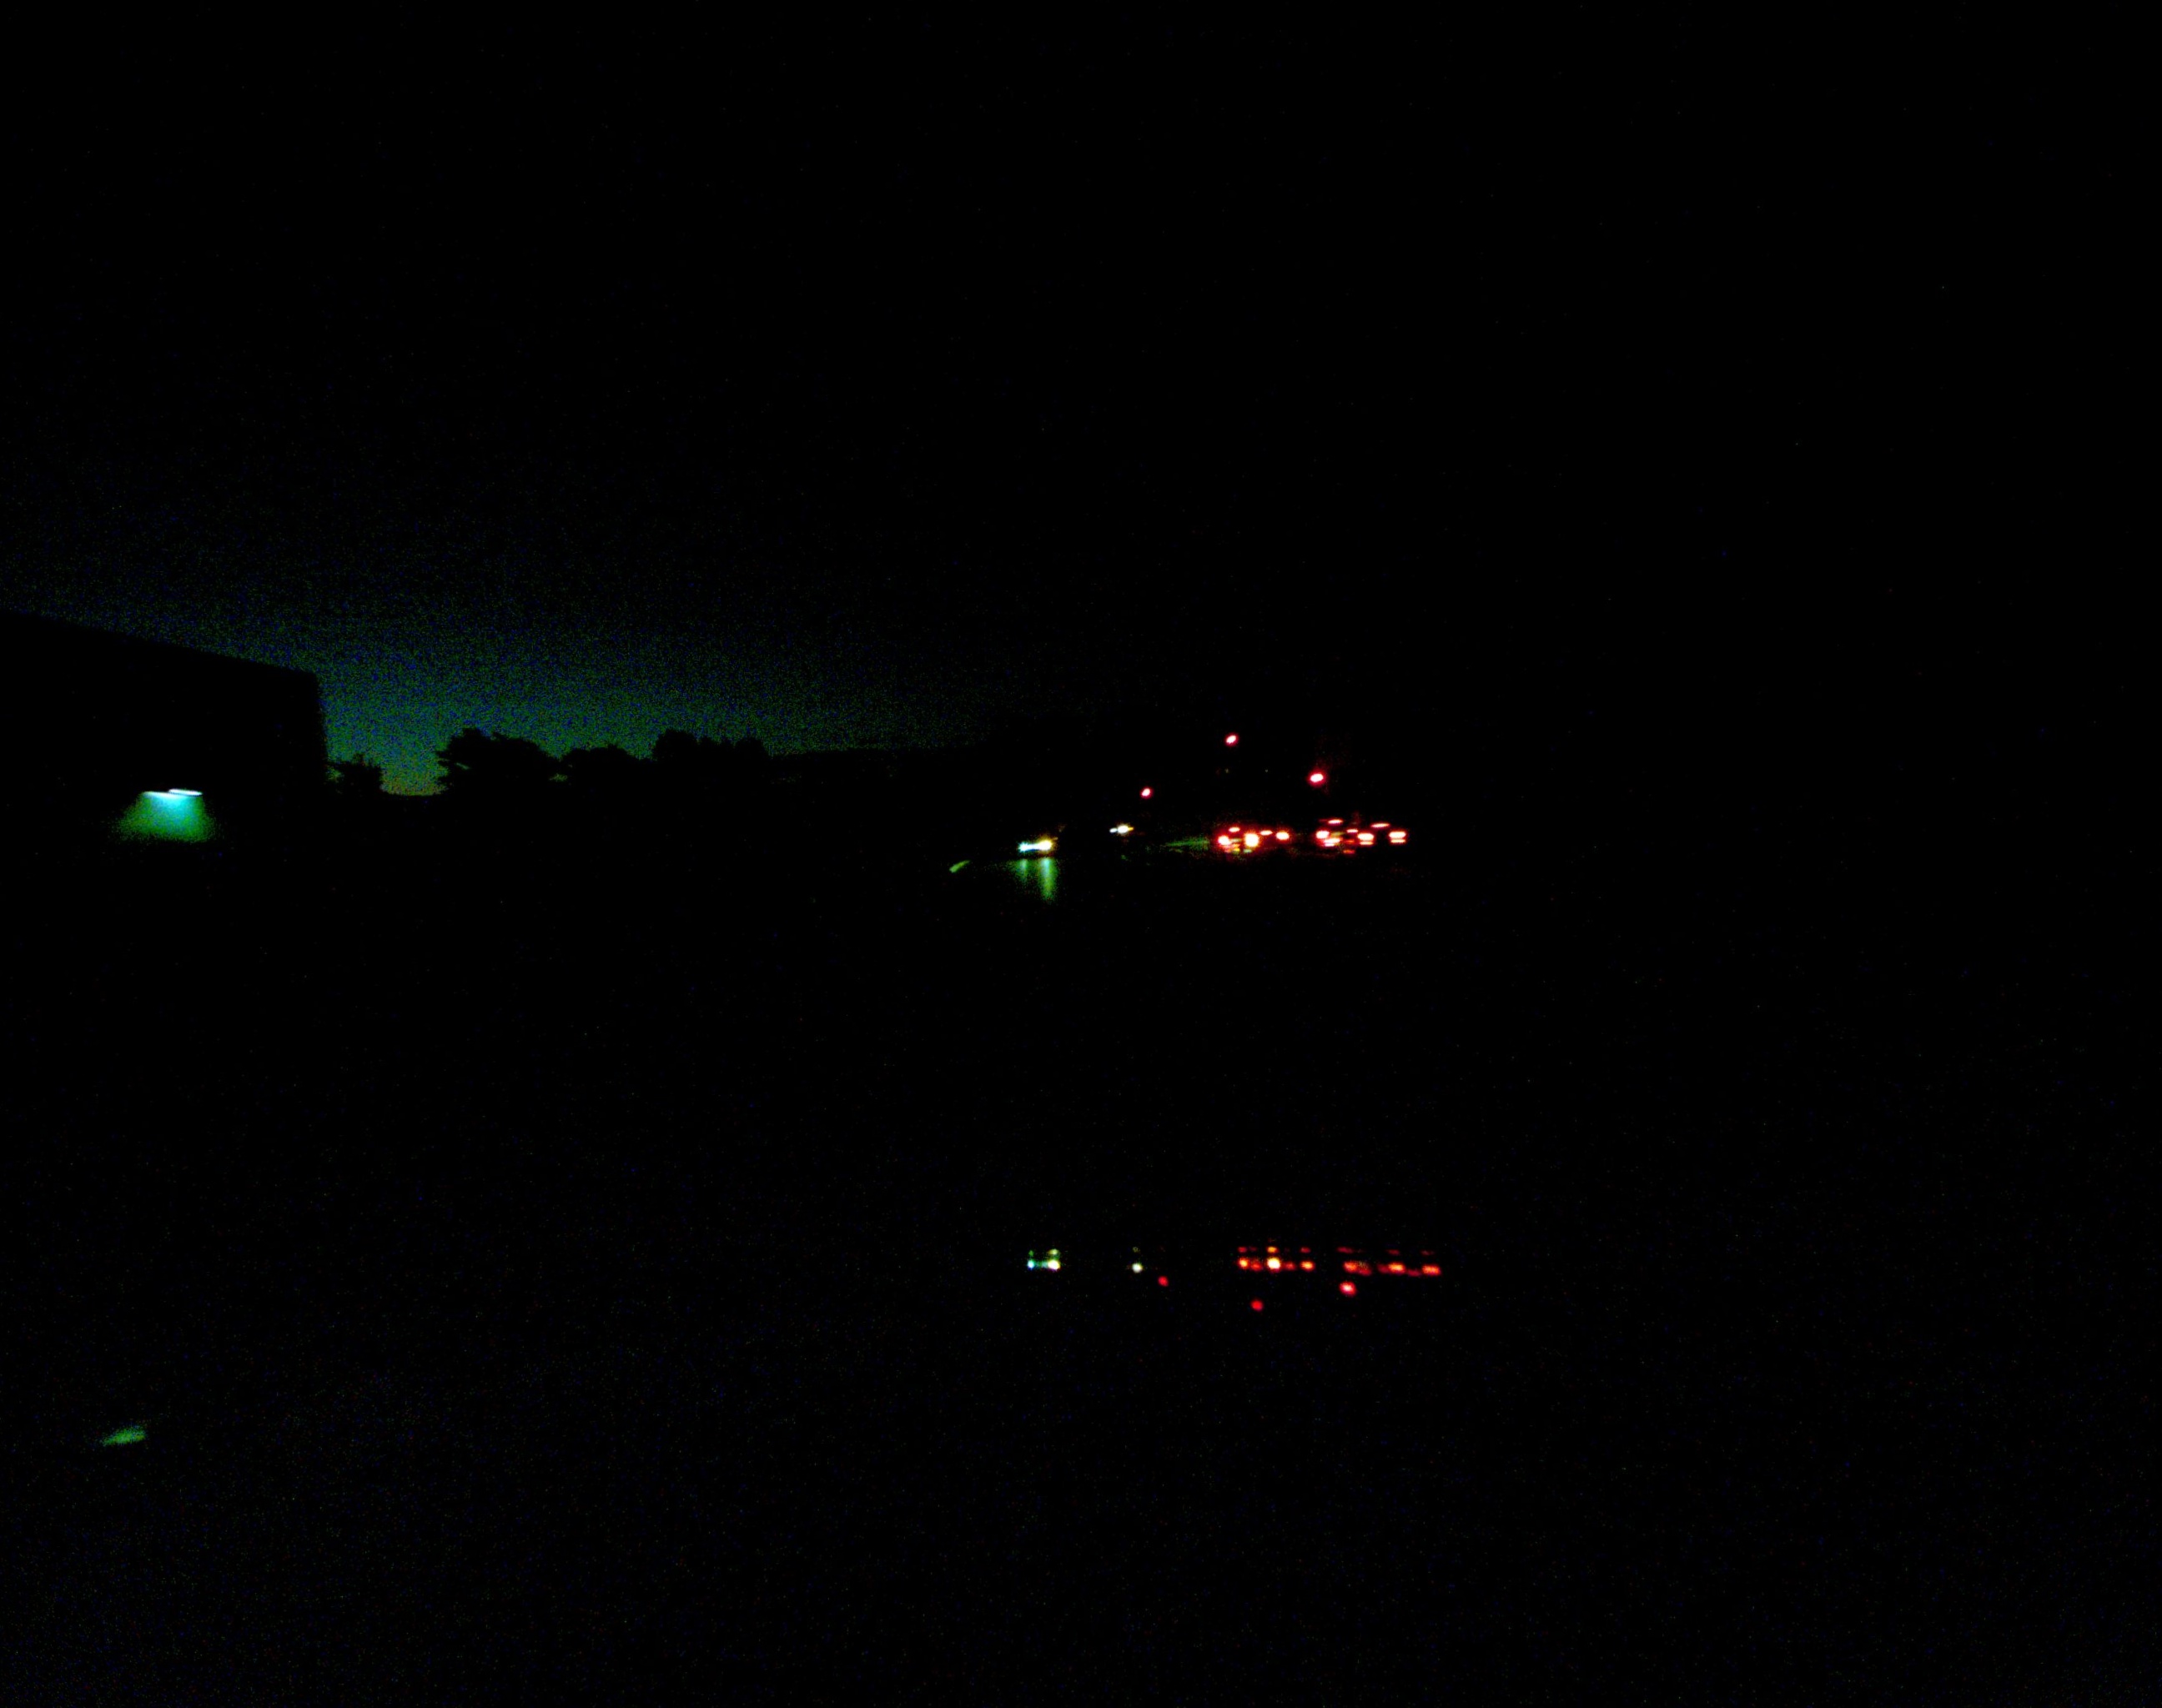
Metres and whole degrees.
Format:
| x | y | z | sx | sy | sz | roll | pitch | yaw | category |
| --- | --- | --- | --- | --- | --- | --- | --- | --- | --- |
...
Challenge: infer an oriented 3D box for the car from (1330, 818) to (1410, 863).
| x | y | z | sx | sy | sz | roll | pitch | yaw | category |
| --- | --- | --- | --- | --- | --- | --- | --- | --- | --- |
| 10.871 | -0.559 | 28.834 | 1.687 | 1.452 | 3.811 | -3 | 3 | 2 | car |

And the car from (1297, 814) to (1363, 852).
| x | y | z | sx | sy | sz | roll | pitch | yaw | category |
| --- | --- | --- | --- | --- | --- | --- | --- | --- | --- |
| 11.509 | -1.010 | 35.363 | 1.758 | 1.453 | 3.998 | -6 | 4 | 2 | car |

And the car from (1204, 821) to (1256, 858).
| x | y | z | sx | sy | sz | roll | pitch | yaw | category |
| --- | --- | --- | --- | --- | --- | --- | --- | --- | --- |
| 7.337 | -0.782 | 37.682 | 1.703 | 1.467 | 3.867 | -5 | 5 | 1 | car |

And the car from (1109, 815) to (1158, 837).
| x | y | z | sx | sy | sz | roll | pitch | yaw | category |
| --- | --- | --- | --- | --- | --- | --- | --- | --- | --- |
| 4.183 | -2.195 | 60.345 | 3.494 | 1.443 | 1.654 | -6 | 3 | -31 | car |

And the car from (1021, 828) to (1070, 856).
| x | y | z | sx | sy | sz | roll | pitch | yaw | category |
| --- | --- | --- | --- | --- | --- | --- | --- | --- | --- |
| -2.179 | -0.793 | 47.721 | 1.761 | 1.451 | 4.195 | -4 | 2 | 15 | car |

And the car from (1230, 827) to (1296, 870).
| x | y | z | sx | sy | sz | roll | pitch | yaw | category |
| --- | --- | --- | --- | --- | --- | --- | --- | --- | --- |
| 7.127 | -0.272 | 30.139 | 1.714 | 1.436 | 3.984 | -4 | 2 | 2 | car |
